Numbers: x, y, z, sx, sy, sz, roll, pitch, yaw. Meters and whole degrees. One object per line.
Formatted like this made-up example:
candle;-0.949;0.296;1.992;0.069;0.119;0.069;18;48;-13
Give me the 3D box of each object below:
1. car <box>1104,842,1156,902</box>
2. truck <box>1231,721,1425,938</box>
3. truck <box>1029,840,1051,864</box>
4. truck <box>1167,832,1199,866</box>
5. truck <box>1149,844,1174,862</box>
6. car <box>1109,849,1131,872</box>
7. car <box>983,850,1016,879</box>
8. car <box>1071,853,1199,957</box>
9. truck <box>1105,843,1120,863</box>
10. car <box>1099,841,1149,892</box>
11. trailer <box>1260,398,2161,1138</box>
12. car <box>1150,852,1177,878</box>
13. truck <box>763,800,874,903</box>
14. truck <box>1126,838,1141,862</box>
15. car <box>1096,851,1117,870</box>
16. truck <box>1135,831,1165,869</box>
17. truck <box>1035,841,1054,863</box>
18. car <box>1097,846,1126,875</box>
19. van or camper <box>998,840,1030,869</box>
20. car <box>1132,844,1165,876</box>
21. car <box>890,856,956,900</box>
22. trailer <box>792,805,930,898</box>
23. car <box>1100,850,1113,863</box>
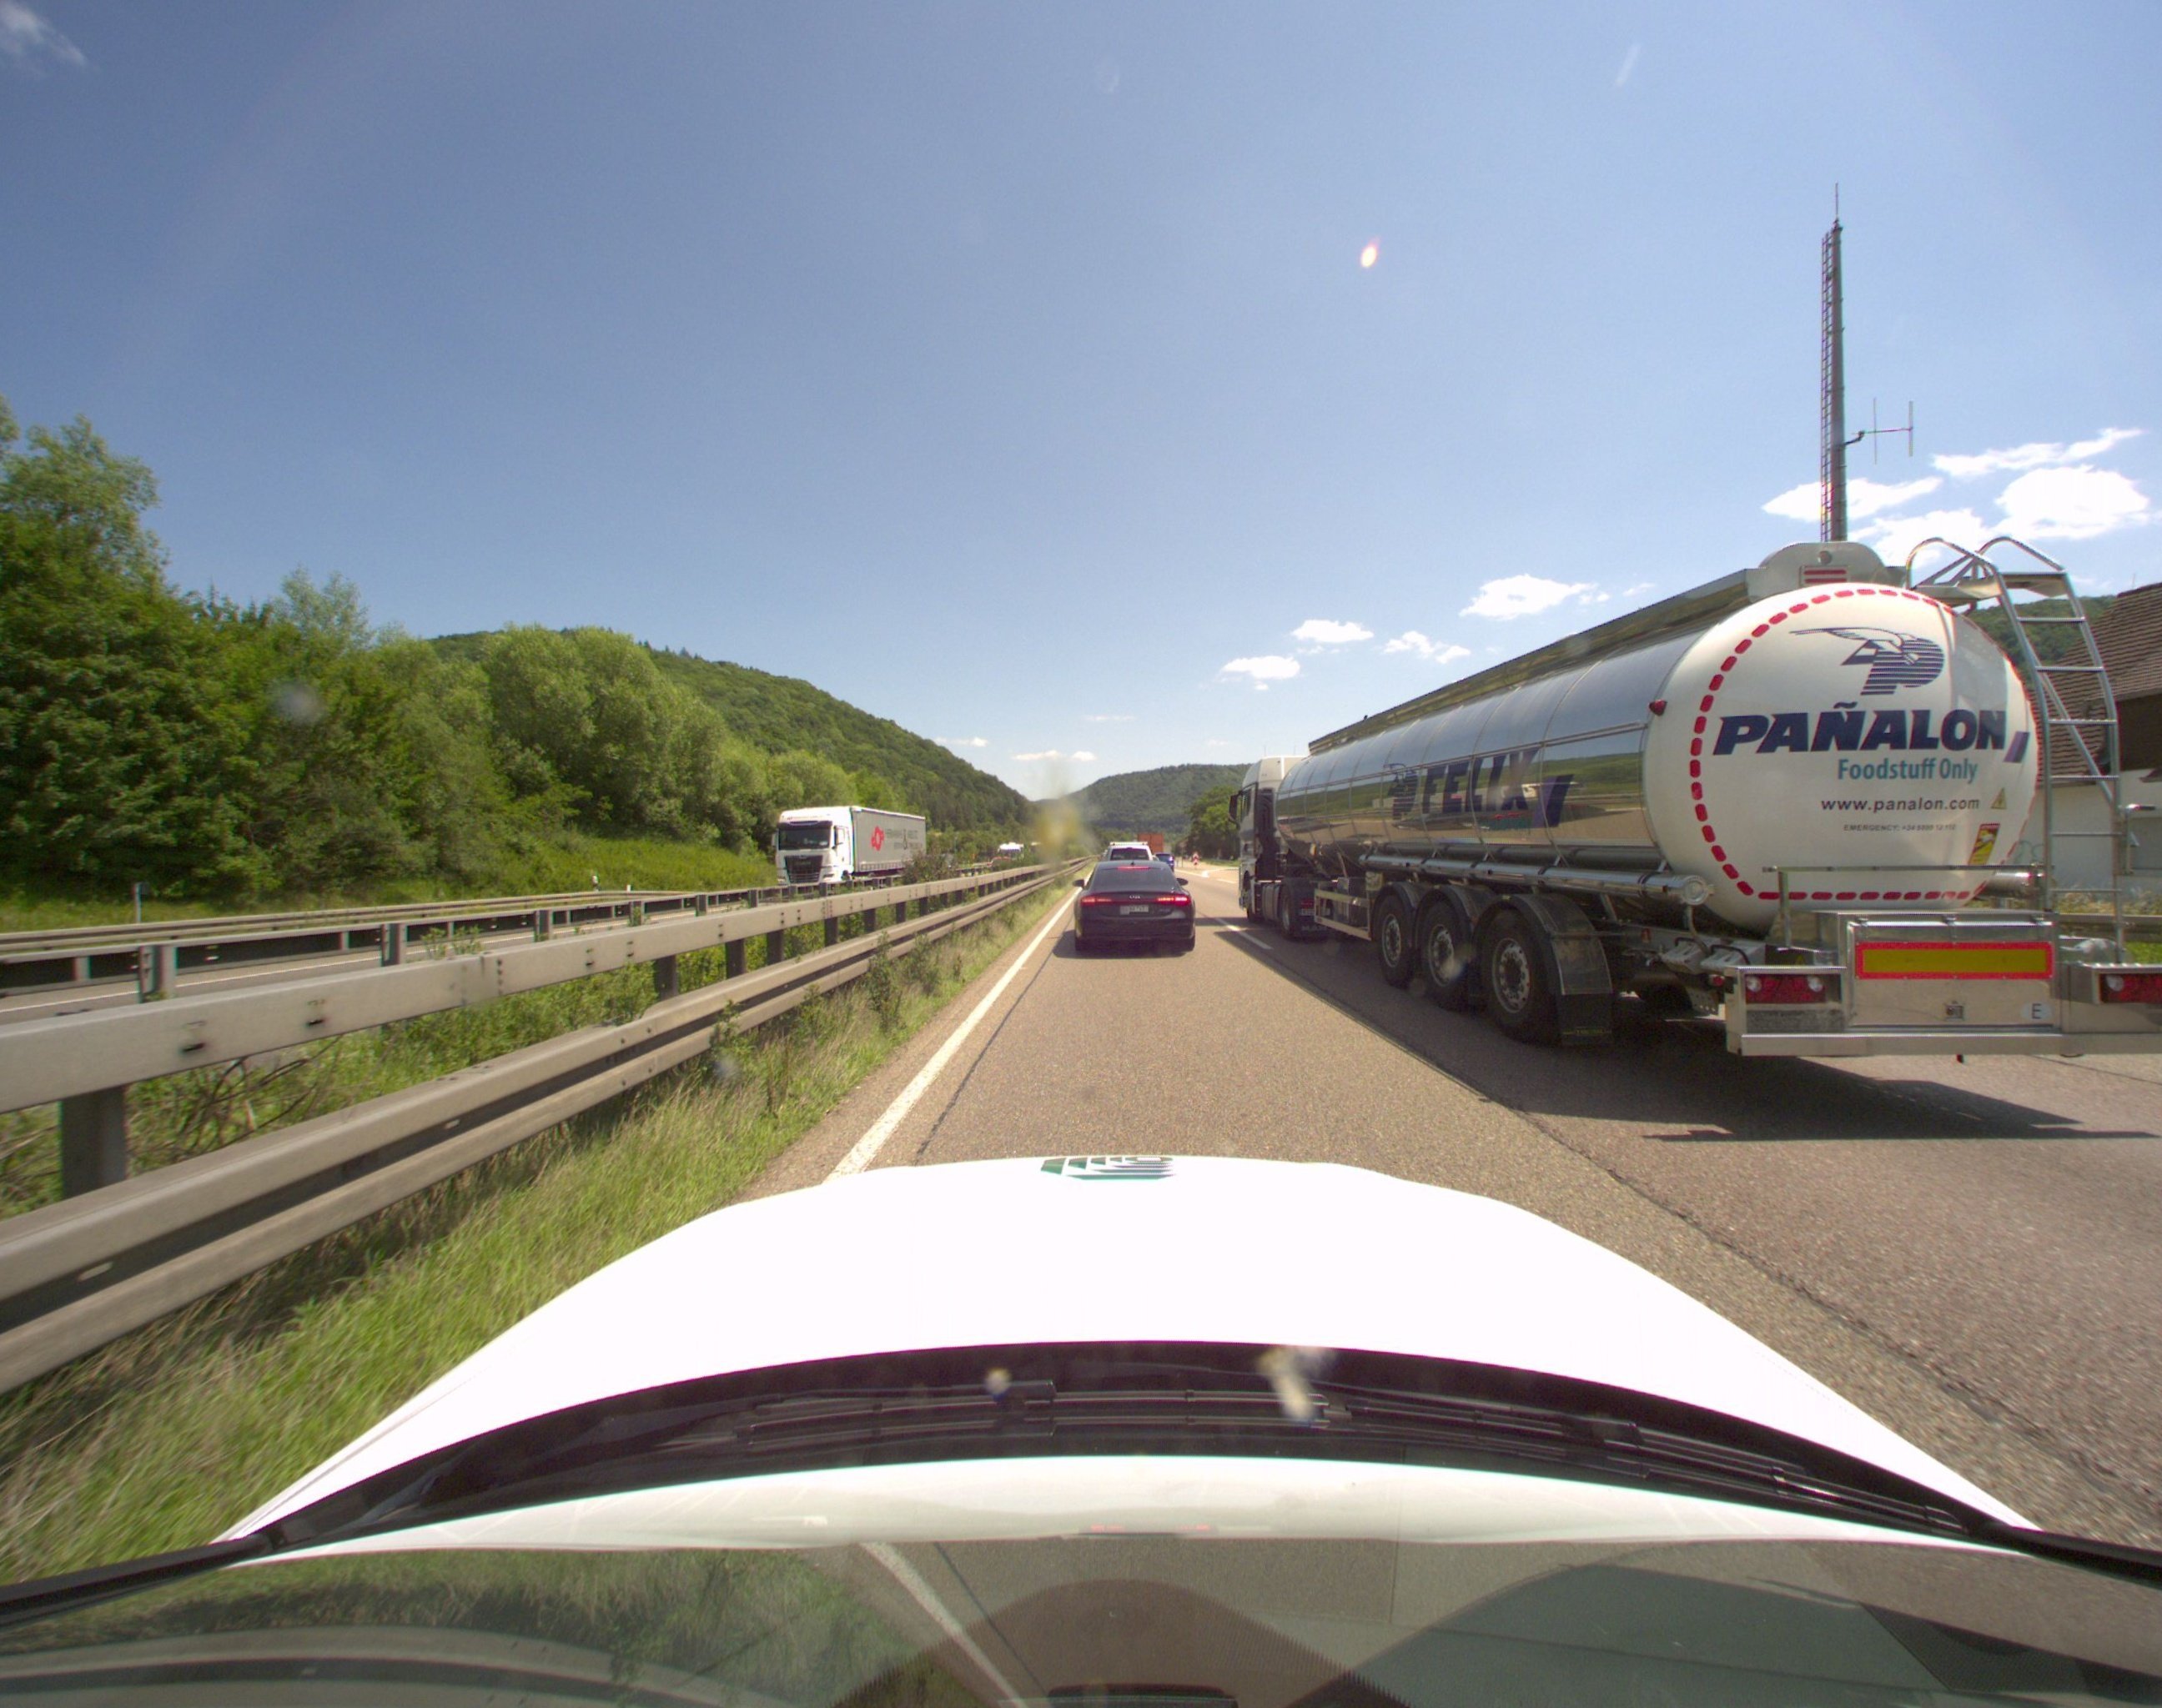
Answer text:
car;1.564;0.545;26.840;1.570;1.833;4.002;-1;0;2
truck;4.798;-0.427;16.855;2.502;3.758;5.247;-1;0;1
truck;-6.920;-0.329;138.635;2.859;4.006;10.174;-1;0;2
truck;12.807;-0.631;103.486;2.806;4.003;14.966;-1;0;3
truck;20.001;-0.253;200.653;3.766;4.414;15.013;-2;0;14
car;3.566;0.551;75.081;1.986;2.013;4.001;-1;0;1
car;-5.880;0.731;59.253;1.987;2.013;4.333;-1;0;0
car;0.771;0.737;13.846;1.844;1.488;4.081;-1;0;-1
truck;5.782;-0.143;150.267;2.618;3.440;11.427;-1;0;2
car;1.789;0.504;34.862;1.986;2.013;4.002;-1;0;2
trailer;4.660;-0.439;10.079;2.529;3.735;11.895;-1;0;1
car;6.697;0.841;66.290;1.985;2.002;4.003;-1;0;3
truck;-11.114;-0.099;34.987;2.717;4.001;5.372;-2;0;2
truck;7.969;-0.633;124.519;1.986;3.447;11.817;-1;0;2
car;2.234;0.558;71.339;1.705;1.618;4.003;-1;0;3
truck;7.853;-0.437;94.262;2.806;4.003;14.966;-1;0;3
truck;-6.634;-0.325;148.252;2.859;3.980;9.034;-1;0;1
car;2.248;0.496;59.894;1.986;2.013;4.001;-1;0;1
van or camper;-8.143;0.058;99.930;2.578;3.335;7.657;-1;0;4
car;4.563;0.397;55.698;1.986;2.013;4.002;-2;0;2
car;-6.853;0.978;35.745;1.915;1.796;4.601;-1;0;1
trailer;-10.844;-0.098;42.340;2.771;3.999;14.167;-1;0;2
car;3.557;0.335;113.688;1.705;1.618;4.003;-1;0;3
